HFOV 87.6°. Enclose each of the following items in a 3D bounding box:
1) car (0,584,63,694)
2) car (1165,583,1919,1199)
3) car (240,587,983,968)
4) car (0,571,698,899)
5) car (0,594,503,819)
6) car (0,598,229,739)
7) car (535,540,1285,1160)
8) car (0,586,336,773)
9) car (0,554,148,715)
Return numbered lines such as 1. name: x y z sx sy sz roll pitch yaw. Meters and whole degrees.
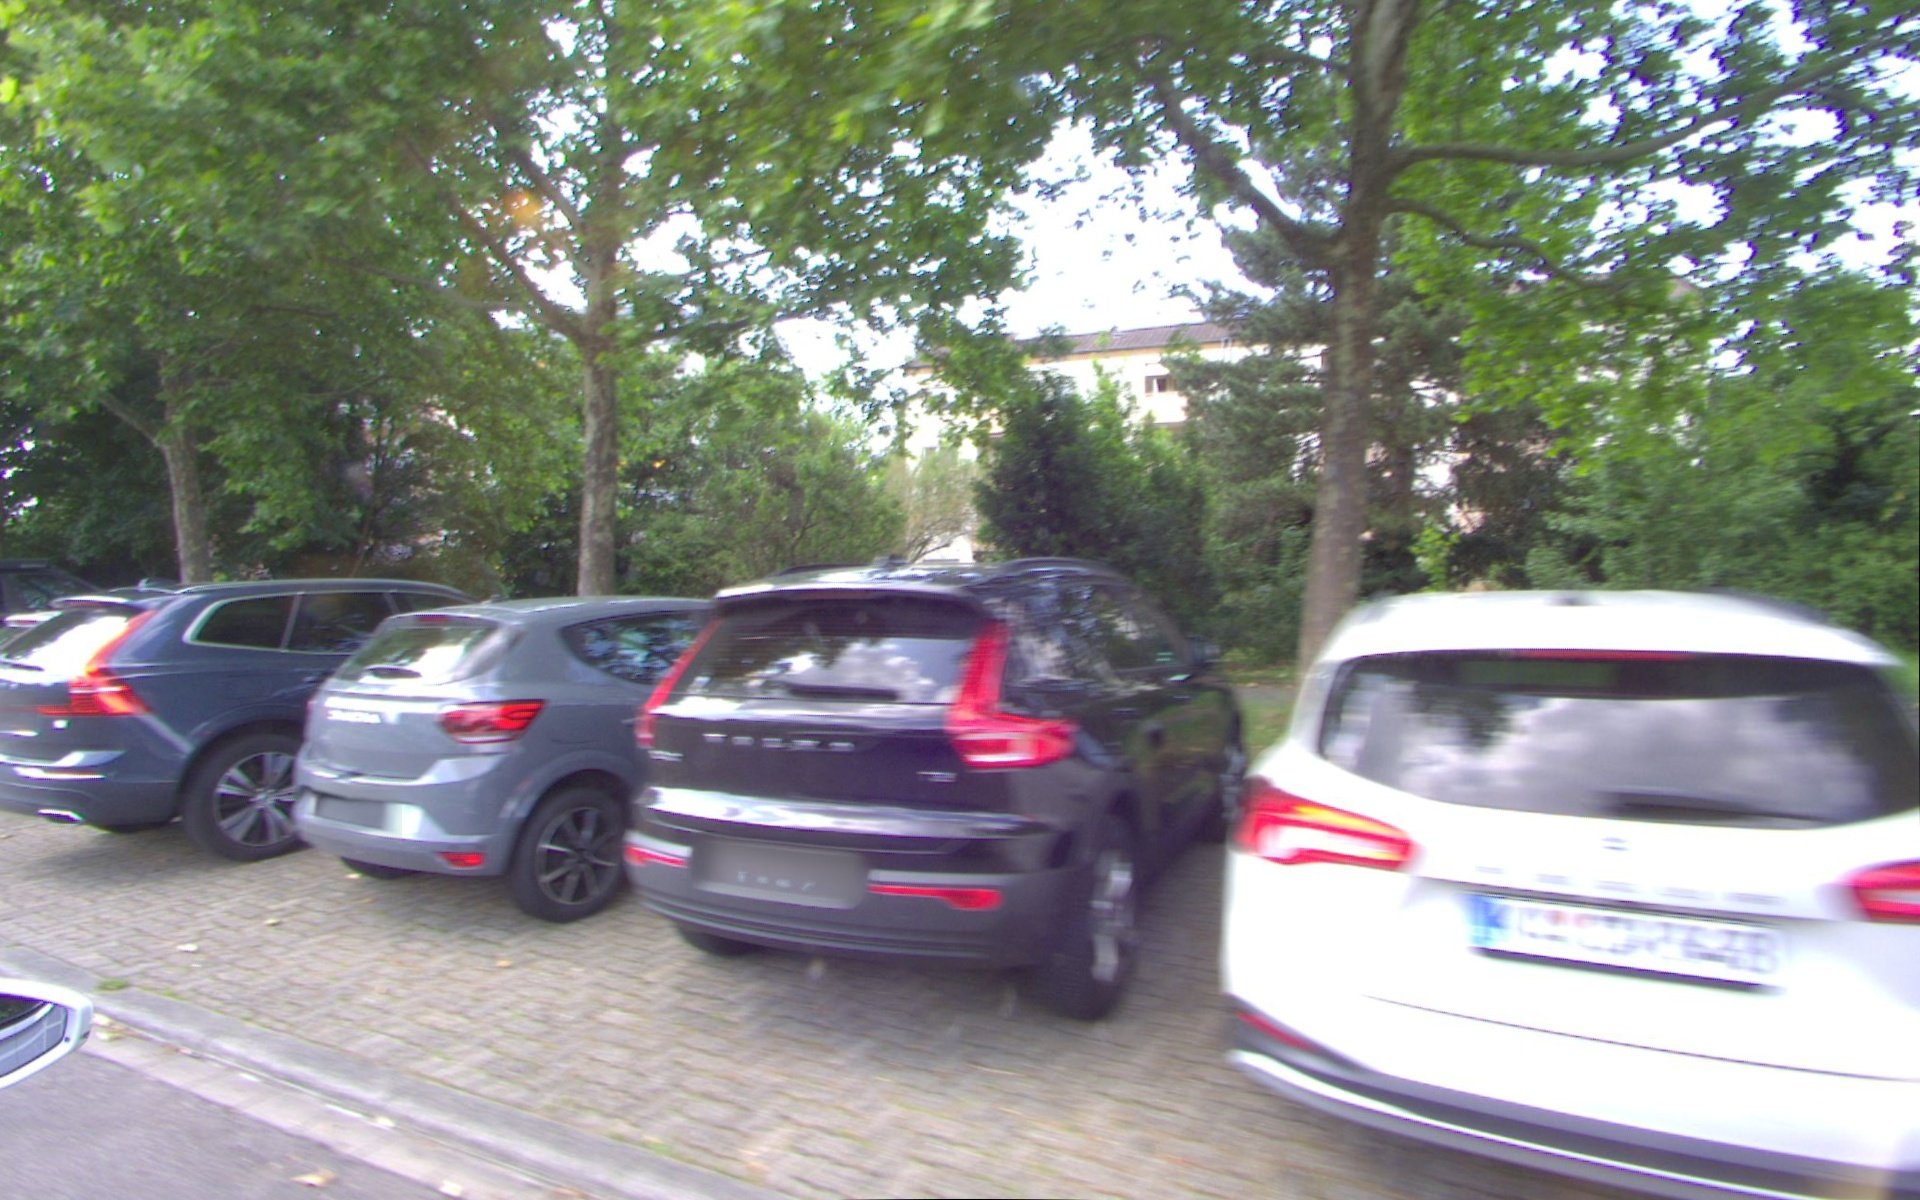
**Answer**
1. car: -17.106 0.660 15.418 1.827 1.790 4.539 0 1 29
2. car: 2.292 0.689 3.940 1.818 1.493 4.655 0 1 26
3. car: -1.691 0.697 6.381 1.730 1.521 4.371 1 1 31
4. car: -4.175 0.647 7.368 1.730 1.662 4.371 0 1 31
5. car: -6.447 0.729 9.040 1.729 1.514 3.960 0 1 29
6. car: -11.204 0.778 11.667 1.729 1.514 3.960 0 1 29
7. car: 0.378 0.623 5.140 1.818 1.648 4.655 0 1 26
8. car: -8.853 0.689 10.242 1.725 1.627 3.969 0 1 19
9. car: -13.897 0.471 13.237 1.827 2.152 4.539 0 1 29
